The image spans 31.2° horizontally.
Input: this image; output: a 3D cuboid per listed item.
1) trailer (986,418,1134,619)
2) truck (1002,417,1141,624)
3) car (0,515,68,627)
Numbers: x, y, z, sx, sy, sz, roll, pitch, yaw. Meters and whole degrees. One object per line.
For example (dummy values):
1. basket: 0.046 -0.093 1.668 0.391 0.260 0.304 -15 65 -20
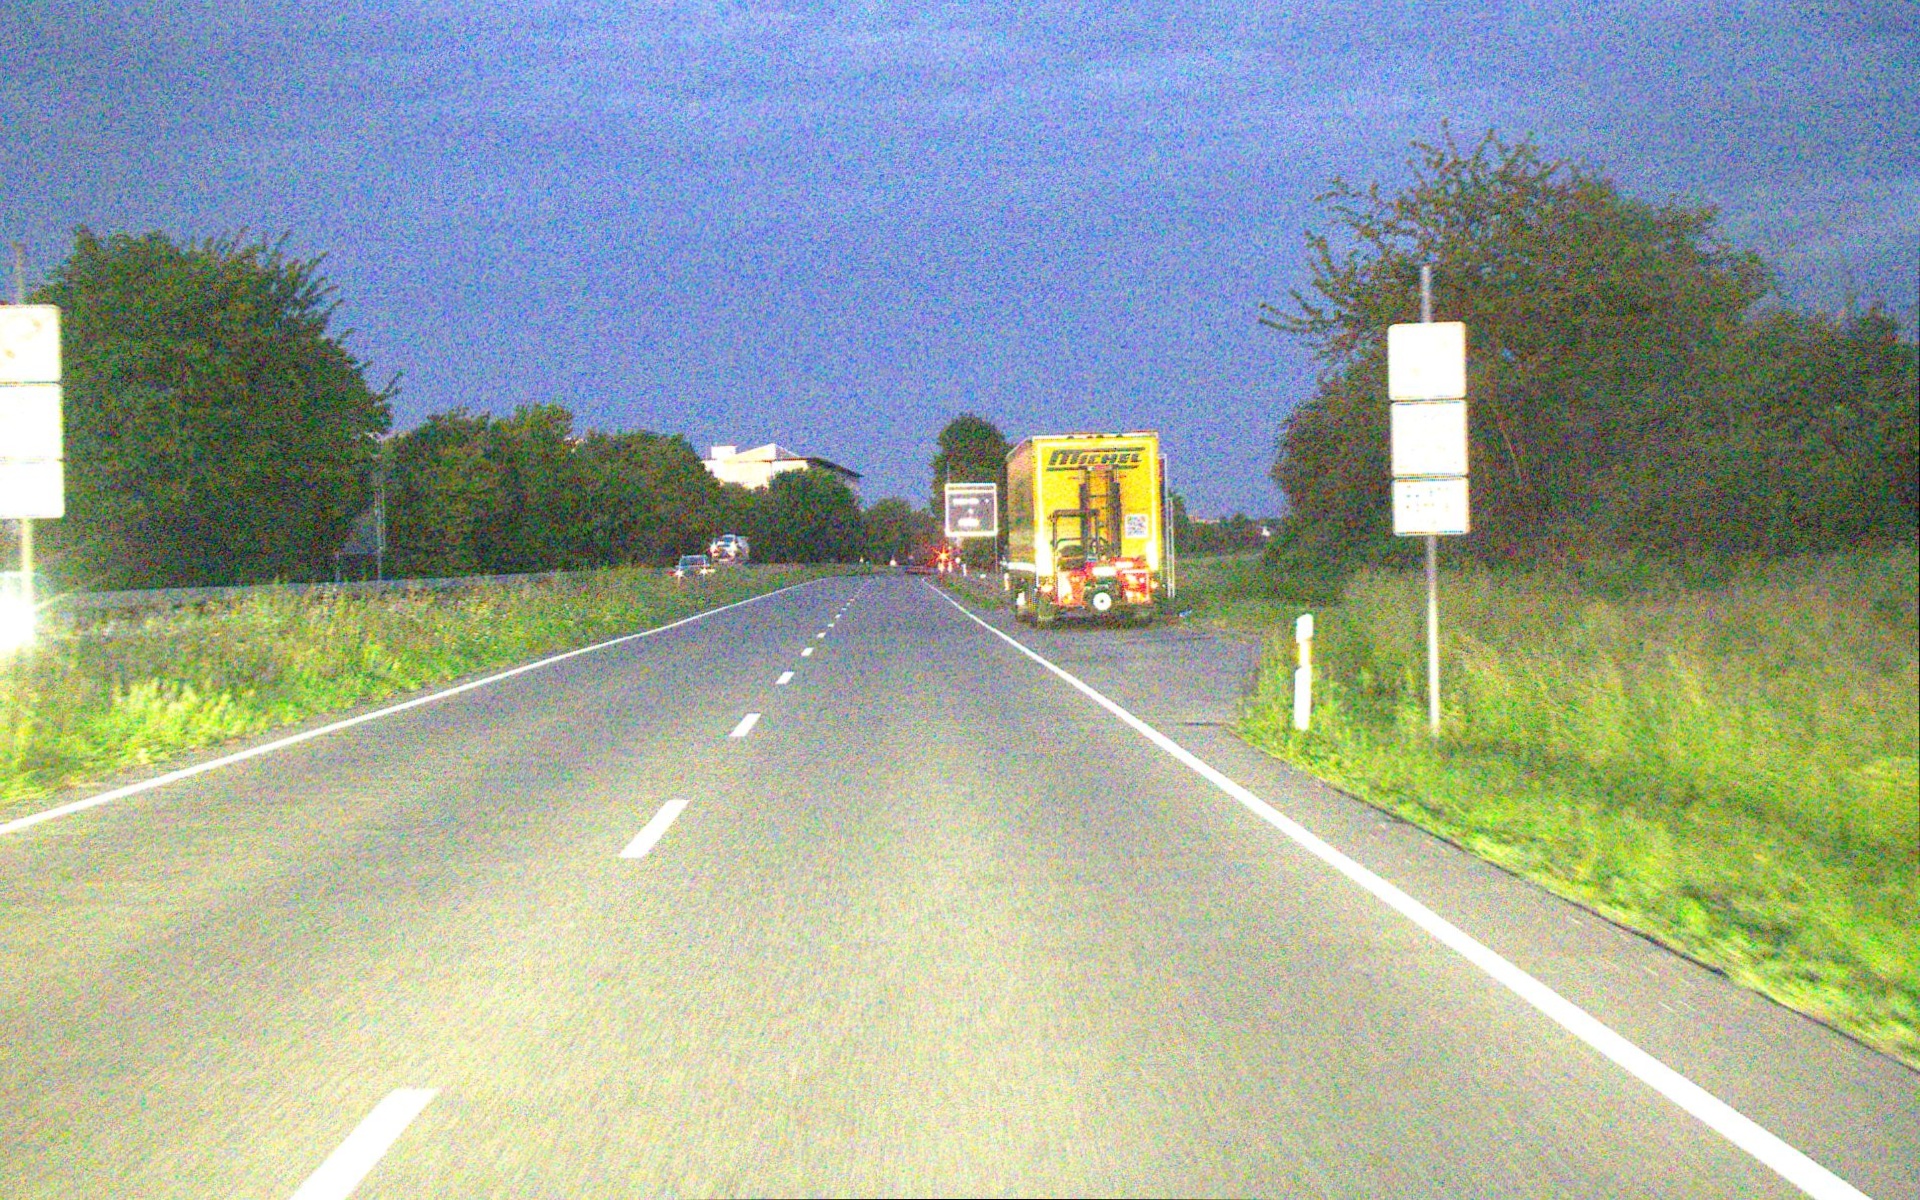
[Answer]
1. trailer: 2.098 -1.756 77.133 2.622 4.090 12.938 -1 1 -1
2. truck: 2.229 -1.628 70.619 2.579 4.057 6.130 1 1 0
3. car: -13.684 -0.425 47.731 1.654 1.500 4.000 1 1 -2
